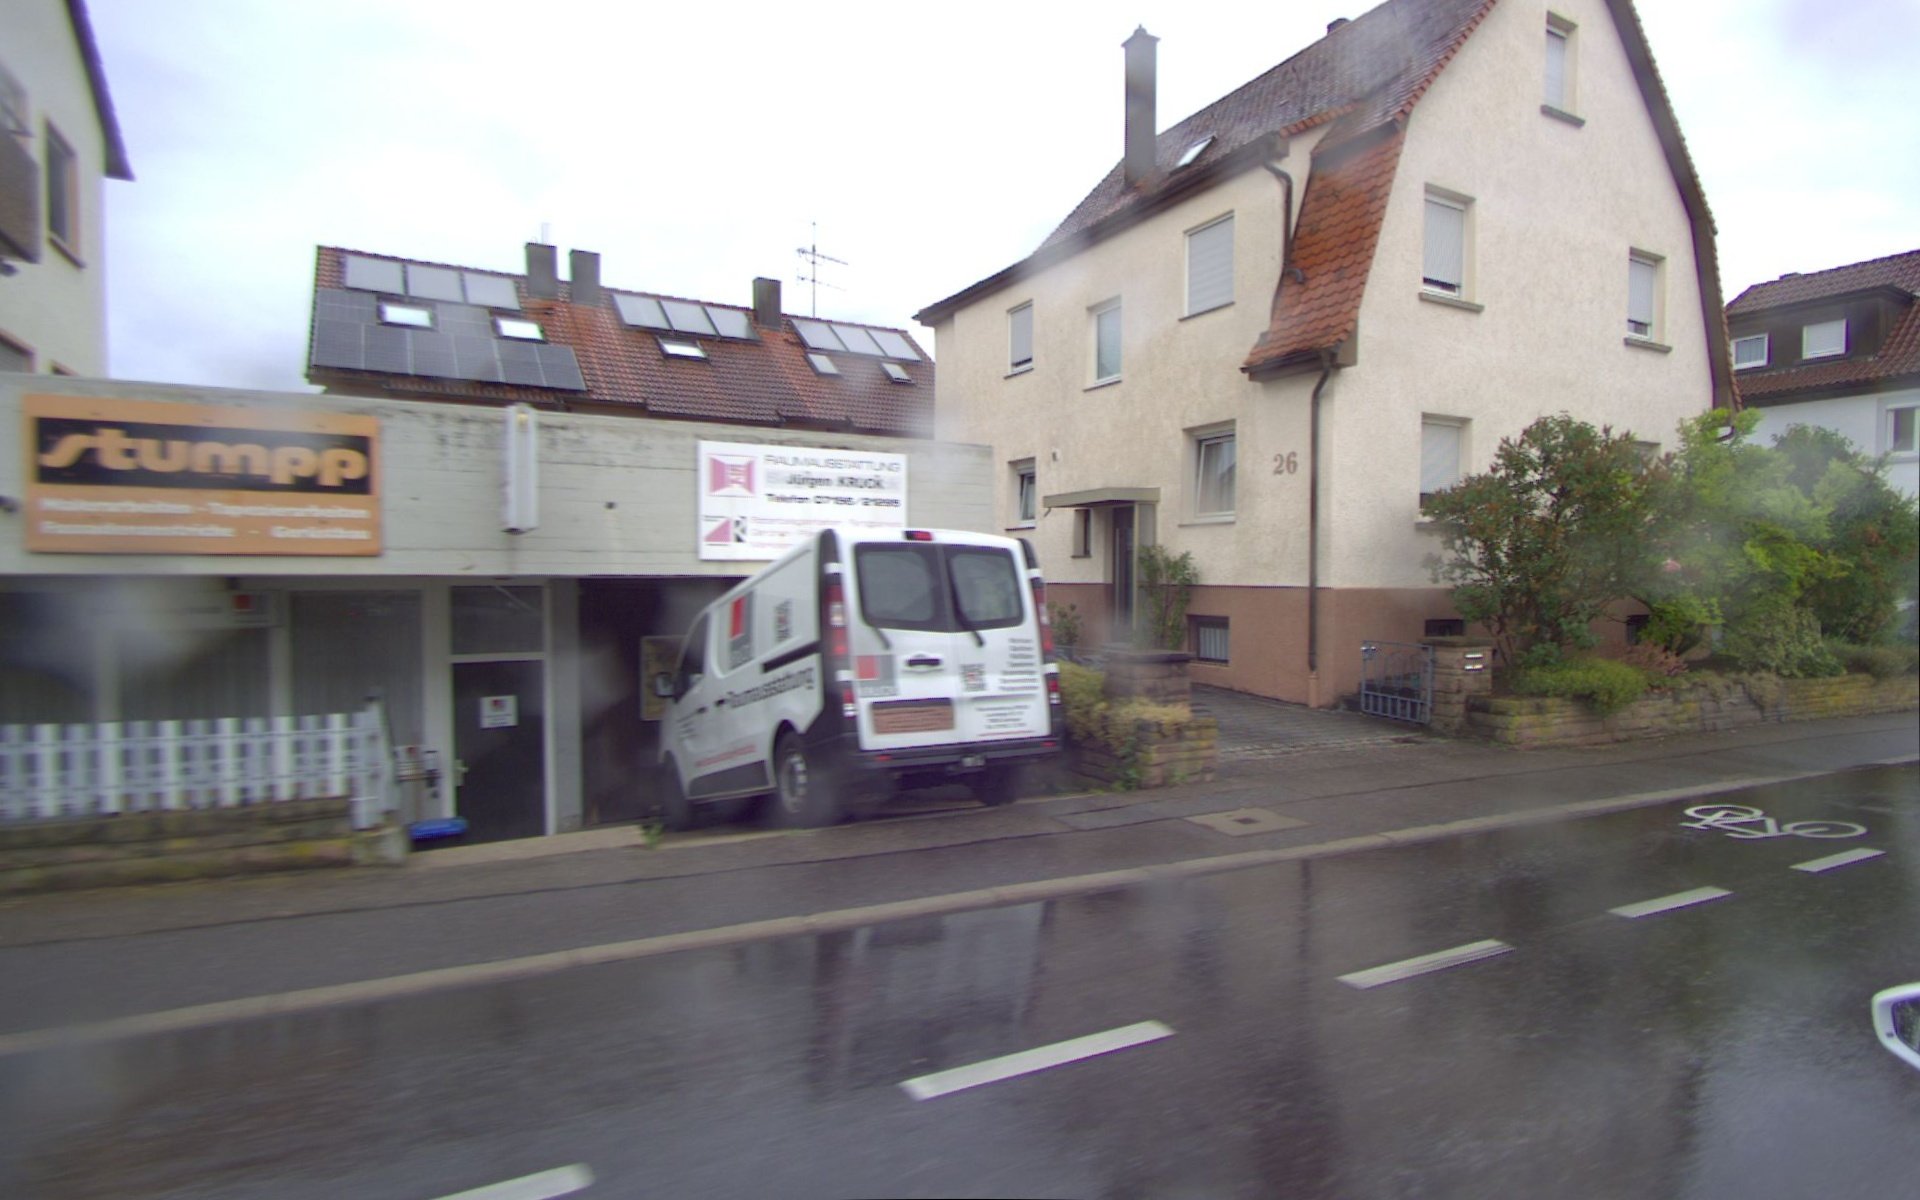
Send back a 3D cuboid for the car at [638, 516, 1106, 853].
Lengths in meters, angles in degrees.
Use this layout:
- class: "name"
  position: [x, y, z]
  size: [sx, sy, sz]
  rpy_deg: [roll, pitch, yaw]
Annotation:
- class: "car"
  position: [-1.107, 0.873, 8.537]
  size: [2.134, 2.036, 4.541]
  rpy_deg: [-2, -9, -30]
